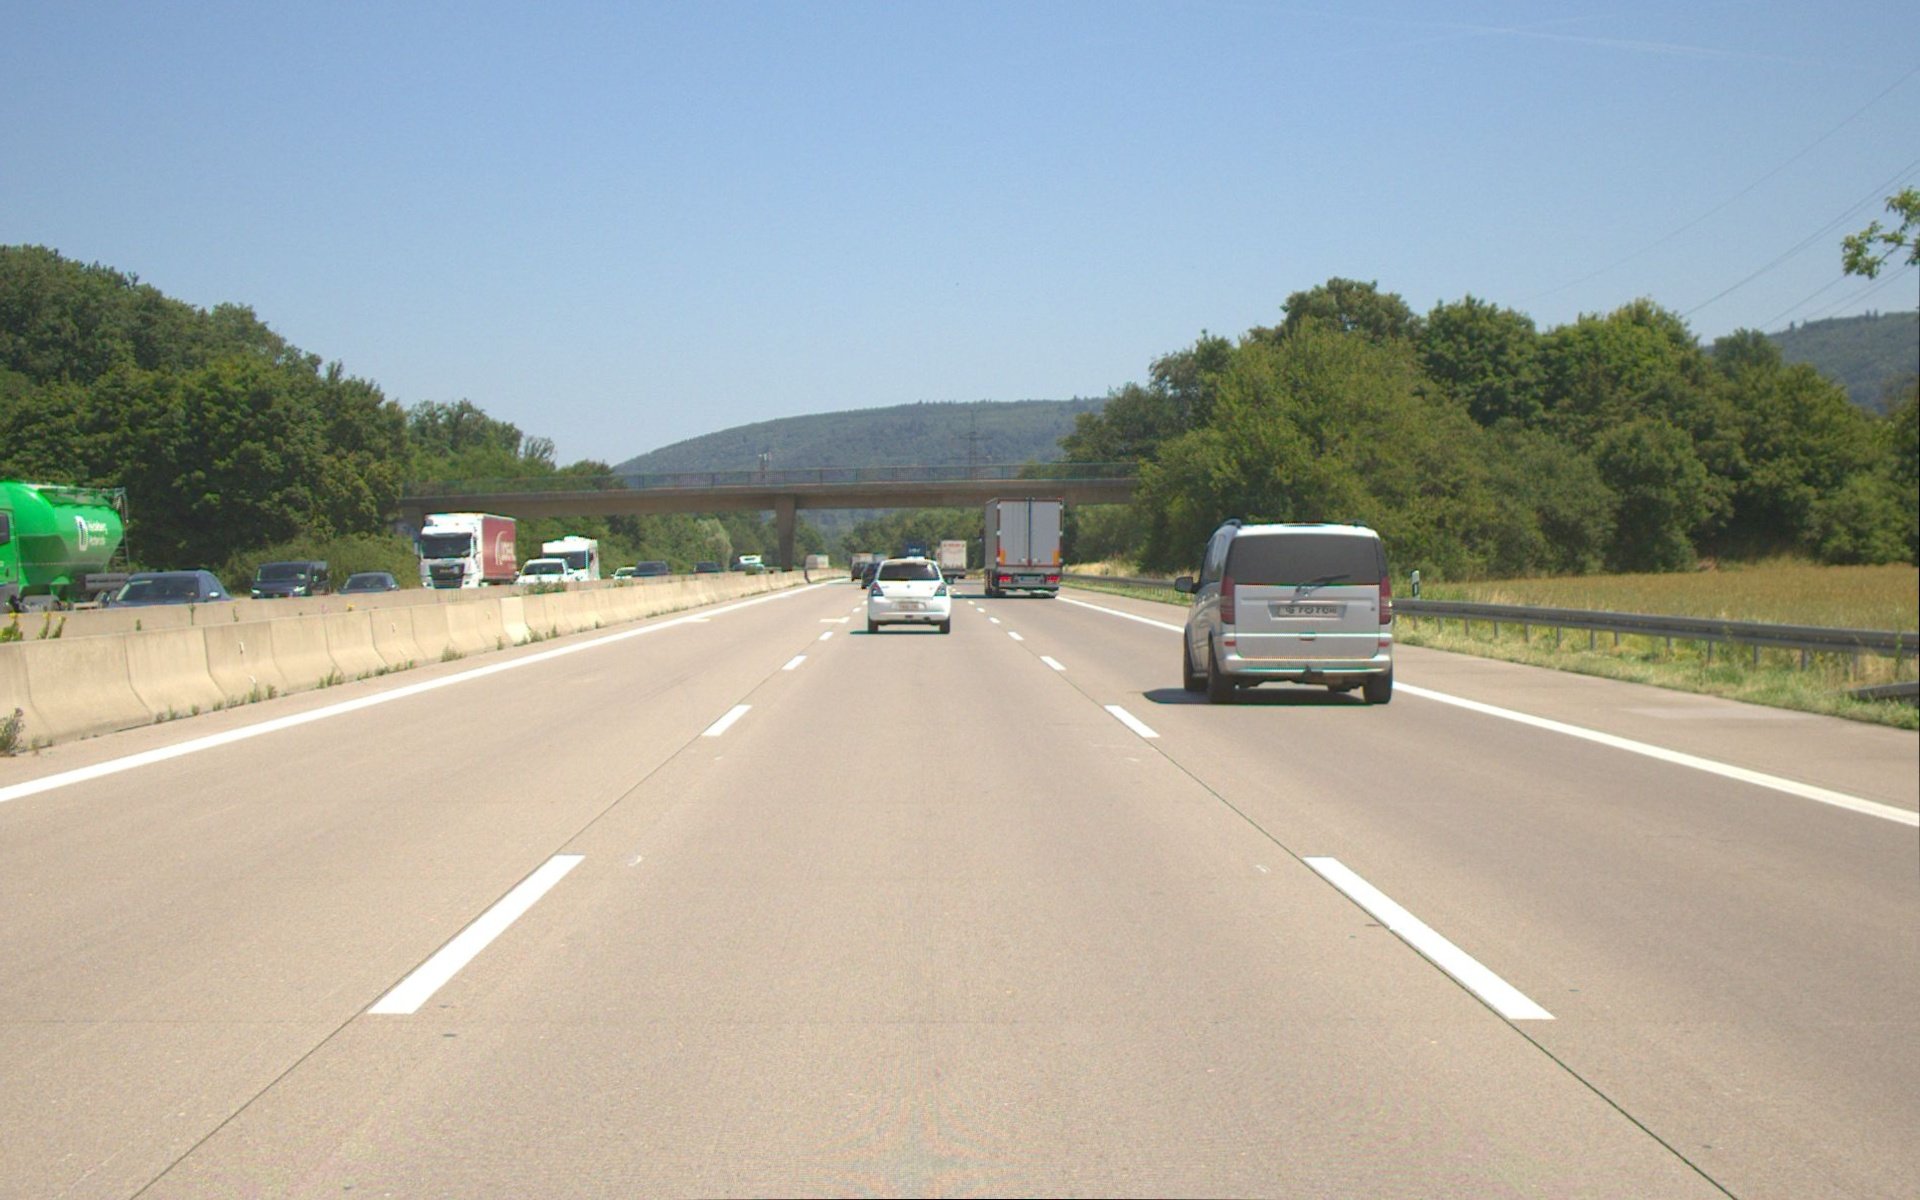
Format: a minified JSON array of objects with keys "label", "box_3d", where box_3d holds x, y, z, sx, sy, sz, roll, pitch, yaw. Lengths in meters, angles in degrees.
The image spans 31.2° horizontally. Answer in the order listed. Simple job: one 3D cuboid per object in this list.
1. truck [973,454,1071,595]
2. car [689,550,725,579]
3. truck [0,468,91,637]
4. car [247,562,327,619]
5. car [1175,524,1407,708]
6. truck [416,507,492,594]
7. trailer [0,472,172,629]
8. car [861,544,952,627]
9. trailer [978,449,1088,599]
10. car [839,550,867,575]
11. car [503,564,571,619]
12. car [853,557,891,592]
[{"label":"truck","box_3d":[2.603,-3.214,146.806,3.720,5.791,7.054,1,1,-2]},{"label":"car","box_3d":[-16.018,-2.263,217.981,1.929,1.787,4.000,1,1,1]},{"label":"truck","box_3d":[-22.162,-1.122,77.930,3.049,3.622,7.979,1,1,-1]},{"label":"car","box_3d":[-22.278,-0.332,113.861,1.928,1.787,4.000,1,1,-1]},{"label":"car","box_3d":[3.502,0.125,37.059,1.993,1.842,4.000,1,1,-1]},{"label":"truck","box_3d":[-22.893,-2.267,155.836,2.556,3.835,6.791,1,1,-1]},{"label":"trailer","box_3d":[-22.310,-1.265,85.228,3.049,3.622,11.670,1,1,-1]},{"label":"car","box_3d":[-1.108,-0.320,70.679,1.819,1.656,4.000,0,1,-1]},{"label":"trailer","box_3d":[2.886,-3.078,140.013,3.720,5.791,12.163,1,1,-2]},{"label":"car","box_3d":[-7.718,-2.710,247.674,1.928,1.787,4.000,1,1,-1]},{"label":"car","box_3d":[-14.575,-0.309,118.697,1.928,1.787,4.000,1,1,-1]},{"label":"car","box_3d":[-4.610,-1.337,179.413,1.928,1.787,4.001,1,1,-2]}]
